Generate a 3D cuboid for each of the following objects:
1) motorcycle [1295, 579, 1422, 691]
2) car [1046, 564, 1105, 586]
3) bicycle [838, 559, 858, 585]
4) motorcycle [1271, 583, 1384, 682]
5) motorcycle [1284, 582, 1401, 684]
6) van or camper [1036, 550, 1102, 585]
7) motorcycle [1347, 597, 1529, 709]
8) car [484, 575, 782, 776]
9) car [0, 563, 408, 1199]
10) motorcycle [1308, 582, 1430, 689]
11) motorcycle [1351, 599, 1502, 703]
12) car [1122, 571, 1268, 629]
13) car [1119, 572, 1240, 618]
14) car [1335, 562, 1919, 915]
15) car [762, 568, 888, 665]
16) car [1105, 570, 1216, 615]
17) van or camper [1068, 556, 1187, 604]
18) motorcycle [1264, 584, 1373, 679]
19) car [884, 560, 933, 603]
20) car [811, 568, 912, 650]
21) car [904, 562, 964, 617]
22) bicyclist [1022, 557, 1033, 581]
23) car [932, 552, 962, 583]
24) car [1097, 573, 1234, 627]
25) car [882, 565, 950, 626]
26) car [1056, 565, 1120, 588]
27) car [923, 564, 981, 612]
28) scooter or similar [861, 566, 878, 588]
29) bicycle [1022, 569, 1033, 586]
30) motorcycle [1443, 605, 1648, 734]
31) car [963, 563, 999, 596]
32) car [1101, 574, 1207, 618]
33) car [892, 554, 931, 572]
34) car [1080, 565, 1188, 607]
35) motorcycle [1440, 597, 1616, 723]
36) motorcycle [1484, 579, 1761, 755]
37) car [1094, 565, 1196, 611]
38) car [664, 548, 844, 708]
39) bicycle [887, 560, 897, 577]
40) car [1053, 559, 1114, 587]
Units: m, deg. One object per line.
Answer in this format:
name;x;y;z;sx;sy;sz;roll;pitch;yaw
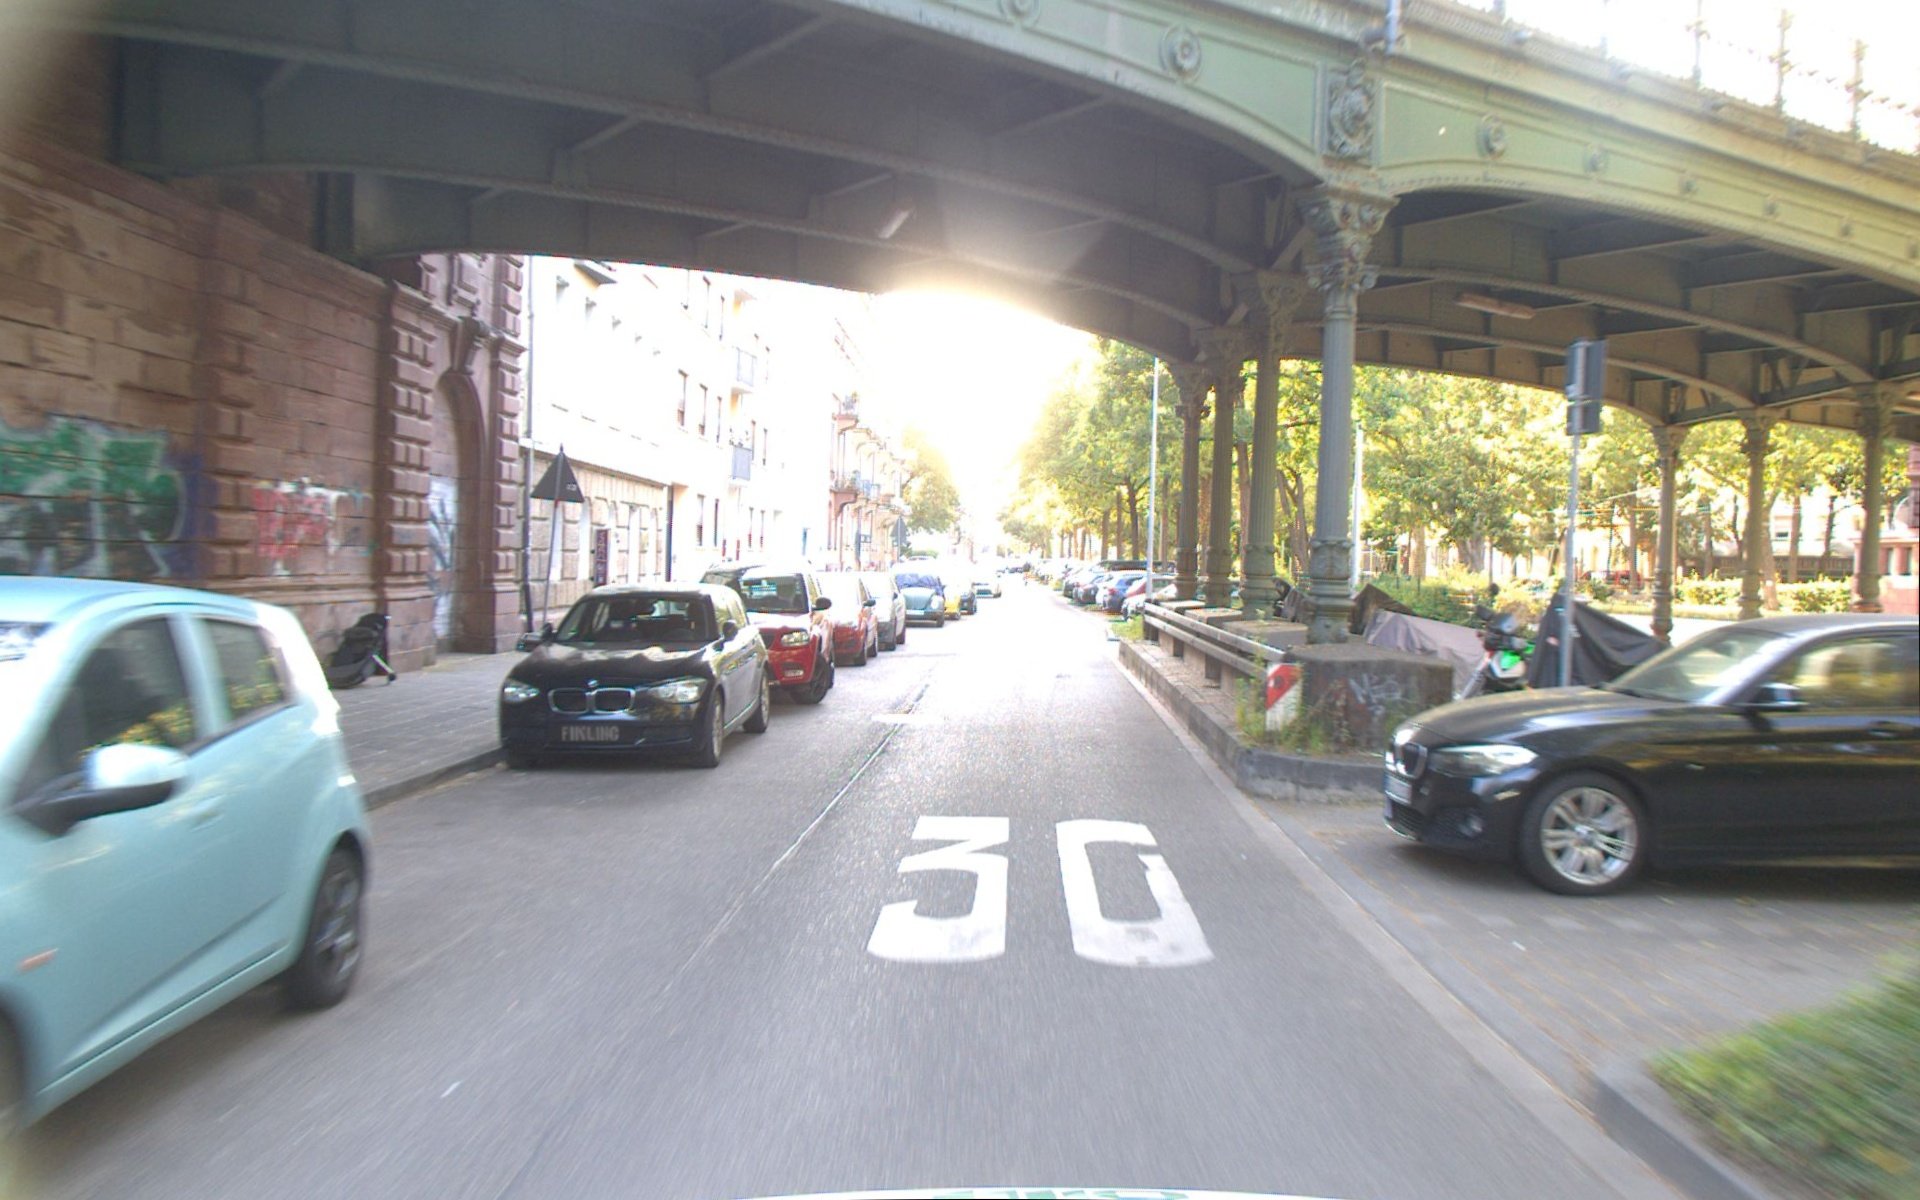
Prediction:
motorcycle;5.513;0.473;22.863;1.567;1.433;0.712;3;0;21
car;8.172;-1.782;117.047;4.130;1.478;1.650;0;1;5
bicycle;-5.653;-1.417;83.700;0.721;1.227;2.515;3;2;2
motorcycle;5.717;0.495;25.741;1.567;1.433;0.712;3;0;21
motorcycle;5.752;0.493;24.871;1.567;1.433;0.712;3;0;21
van or camper;8.531;-2.509;129.568;4.880;2.418;2.185;3;0;-1
motorcycle;5.366;0.590;18.569;1.806;1.152;0.845;3;0;-22
car;-2.684;0.536;14.480;1.681;1.489;4.001;1;1;2
car;-2.908;0.689;4.510;1.562;1.574;3.914;1;1;-1
motorcycle;5.882;0.496;23.766;1.567;1.433;0.712;3;0;21
motorcycle;5.594;0.607;19.847;1.574;1.152;0.709;3;-1;-16
car;6.362;0.002;44.998;3.706;1.498;1.634;1;0;-3
car;7.210;-0.144;54.547;3.706;1.426;1.765;1;0;-3
car;4.395;0.731;8.971;4.285;1.605;1.674;3;0;-1
car;-2.205;0.224;27.882;1.654;1.466;4.001;1;1;2
car;6.875;-0.249;56.880;3.702;1.472;1.665;1;0;7
van or camper;7.557;-0.926;75.097;5.300;2.062;2.031;1;2;3
motorcycle;5.797;0.503;26.752;1.567;1.433;0.712;3;0;21
car;-2.012;-0.751;65.638;1.634;1.533;4.001;5;1;1
car;-1.906;0.130;32.993;1.603;1.492;4.001;-1;1;2
car;-0.742;-0.341;49.946;1.667;1.551;3.774;1;1;1
bicyclist;4.691;-2.144;114.888;0.615;1.600;0.802;3;0;0
car;-0.872;-2.236;115.140;1.953;1.954;5.040;3;0;0
car;5.793;0.009;46.928;3.703;1.426;1.828;1;0;2
car;-1.150;-0.159;44.738;1.534;1.544;3.784;1;1;3
car;8.250;-1.526;107.110;3.998;1.467;1.761;0;1;-1
car;-0.232;-0.412;54.807;1.703;1.505;4.002;1;1;3
scooter or similar;-5.559;-1.412;101.721;0.767;1.243;2.704;3;0;1
bicycle;4.662;-1.544;114.830;0.628;1.119;1.944;3;0;0
motorcycle;5.151;0.616;14.524;1.704;1.048;0.803;3;-1;-33
car;1.051;-1.013;80.658;1.633;1.455;4.002;-1;2;2
car;6.976;-0.157;59.763;3.703;1.499;1.665;1;0;3
car;-5.194;-3.954;176.530;3.904;1.735;2.001;3;0;2
car;7.068;-0.551;67.234;4.306;1.605;1.665;1;0;6
motorcycle;5.581;0.593;16.213;1.704;1.152;0.704;3;-1;-33
motorcycle;5.139;0.521;12.832;1.904;1.259;0.898;3;-1;-24
car;6.957;-0.445;62.400;3.703;1.675;1.665;1;0;2
car;-2.417;0.274;20.342;1.682;1.737;4.322;1;1;-1
bicycle;-5.141;-2.387;124.798;0.690;1.167;1.889;3;0;-2
car;8.381;-1.870;112.588;4.132;1.896;1.762;0;1;2
